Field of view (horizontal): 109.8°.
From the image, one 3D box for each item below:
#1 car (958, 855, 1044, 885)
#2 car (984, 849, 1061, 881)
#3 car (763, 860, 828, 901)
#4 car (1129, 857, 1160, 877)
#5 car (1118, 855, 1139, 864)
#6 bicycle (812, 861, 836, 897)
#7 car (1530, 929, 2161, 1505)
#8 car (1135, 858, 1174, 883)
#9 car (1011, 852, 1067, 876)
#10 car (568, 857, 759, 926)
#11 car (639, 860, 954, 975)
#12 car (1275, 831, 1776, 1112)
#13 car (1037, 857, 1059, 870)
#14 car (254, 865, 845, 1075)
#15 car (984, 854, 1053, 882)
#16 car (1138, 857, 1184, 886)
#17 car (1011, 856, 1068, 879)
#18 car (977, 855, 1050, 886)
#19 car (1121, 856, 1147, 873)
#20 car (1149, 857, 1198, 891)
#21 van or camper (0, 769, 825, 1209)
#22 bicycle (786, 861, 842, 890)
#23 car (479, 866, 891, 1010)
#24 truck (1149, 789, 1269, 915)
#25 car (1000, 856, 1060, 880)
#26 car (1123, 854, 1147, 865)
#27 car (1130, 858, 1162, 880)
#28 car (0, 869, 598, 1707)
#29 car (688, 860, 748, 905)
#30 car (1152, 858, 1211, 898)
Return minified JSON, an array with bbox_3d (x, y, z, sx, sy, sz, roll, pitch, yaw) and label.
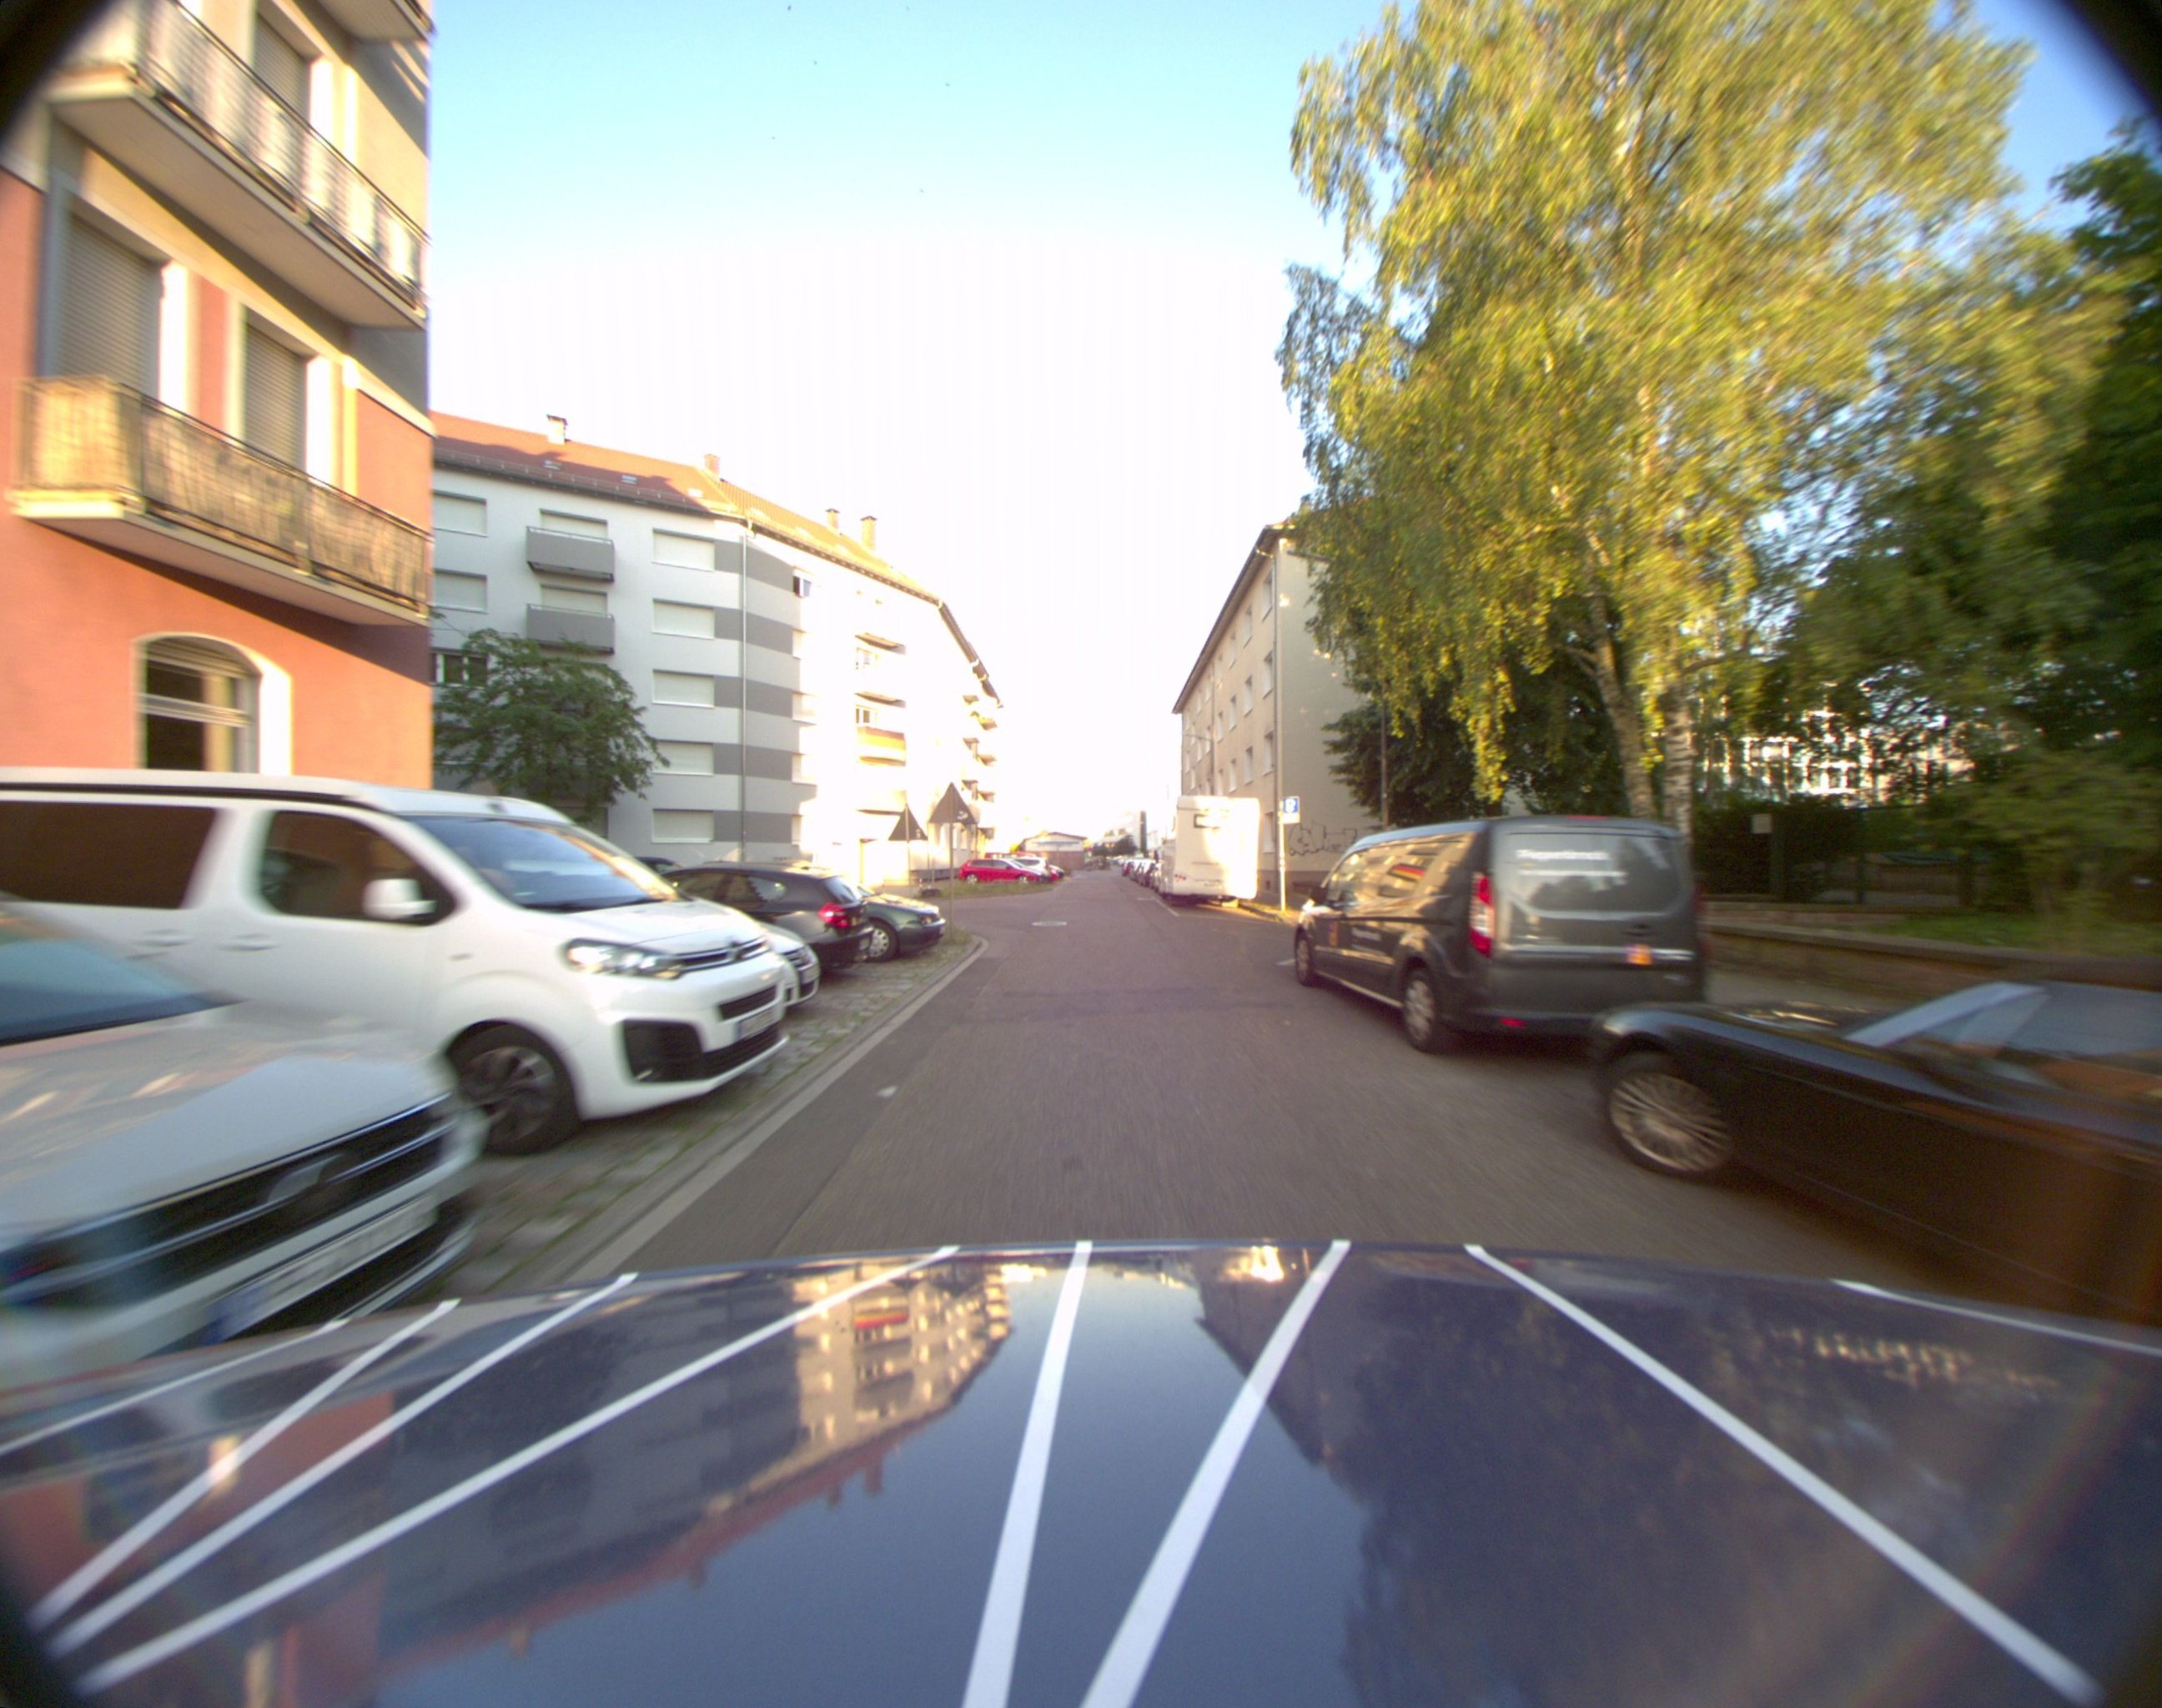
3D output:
[{"bbox_3d":[-4.195,0.851,40.299,4.310,1.532,1.924,0,0,2],"label":"car"},{"bbox_3d":[-3.668,0.704,48.187,4.684,1.988,2.000,0,0,2],"label":"car"},{"bbox_3d":[-10.817,0.948,28.630,2.003,1.412,3.992,0,0,-25],"label":"car"},{"bbox_3d":[4.791,1.000,58.054,1.999,1.436,4.431,-1,0,0],"label":"car"},{"bbox_3d":[9.277,1.013,149.431,3.996,1.739,2.000,0,0,2],"label":"car"},{"bbox_3d":[-10.507,0.993,30.994,0.517,1.375,2.499,-1,0,-28],"label":"bicycle"},{"bbox_3d":[3.687,1.038,2.368,1.999,1.182,4.035,-1,0,-4],"label":"car"},{"bbox_3d":[4.477,0.980,46.665,1.998,1.436,4.432,-1,0,1],"label":"car"},{"bbox_3d":[-3.428,0.798,62.710,4.427,1.956,2.001,0,0,4],"label":"car"},{"bbox_3d":[-10.305,0.879,19.128,4.004,1.564,1.826,0,0,-22],"label":"car"},{"bbox_3d":[-4.149,0.896,11.635,4.113,1.576,1.854,0,0,-2],"label":"car"},{"bbox_3d":[3.479,0.763,7.339,1.915,1.777,4.949,1,0,0],"label":"car"},{"bbox_3d":[-3.957,1.093,89.557,2.000,1.481,4.428,-1,0,-11],"label":"car"},{"bbox_3d":[-4.491,0.926,6.990,3.997,1.608,2.000,0,0,-1],"label":"car"},{"bbox_3d":[-3.702,0.819,45.279,3.997,1.619,1.784,0,0,-1],"label":"car"},{"bbox_3d":[4.288,0.919,41.400,1.999,1.436,4.431,-1,0,0],"label":"car"},{"bbox_3d":[-3.016,0.997,55.942,3.995,1.674,2.001,0,0,4],"label":"car"},{"bbox_3d":[-3.756,0.905,42.841,3.997,1.652,2.000,0,0,-1],"label":"car"},{"bbox_3d":[4.797,0.907,68.915,1.999,1.481,4.431,-1,0,0],"label":"car"},{"bbox_3d":[4.327,0.911,36.143,1.794,1.524,4.068,1,0,0],"label":"car"},{"bbox_3d":[-4.361,0.654,4.687,4.845,2.084,2.041,0,0,2],"label":"van or camper"},{"bbox_3d":[-12.026,0.950,34.320,0.696,1.266,2.459,-1,0,31],"label":"bicycle"},{"bbox_3d":[-4.587,0.935,9.335,3.997,1.521,2.000,0,0,-1],"label":"car"},{"bbox_3d":[3.853,-0.057,24.770,2.532,3.334,8.017,2,0,1],"label":"truck"},{"bbox_3d":[-3.560,0.976,53.385,3.996,1.674,2.000,0,0,3],"label":"car"},{"bbox_3d":[9.458,0.946,133.287,3.996,1.805,2.000,0,0,3],"label":"car"},{"bbox_3d":[4.459,1.012,52.679,1.792,1.436,4.431,-1,0,0],"label":"car"},{"bbox_3d":[-3.892,0.890,1.946,3.997,1.630,2.000,0,1,-1],"label":"car"},{"bbox_3d":[-13.297,0.988,27.955,1.849,1.477,3.992,0,0,-25],"label":"car"},{"bbox_3d":[4.083,0.930,31.564,1.911,1.468,4.910,2,0,2],"label":"car"}]
